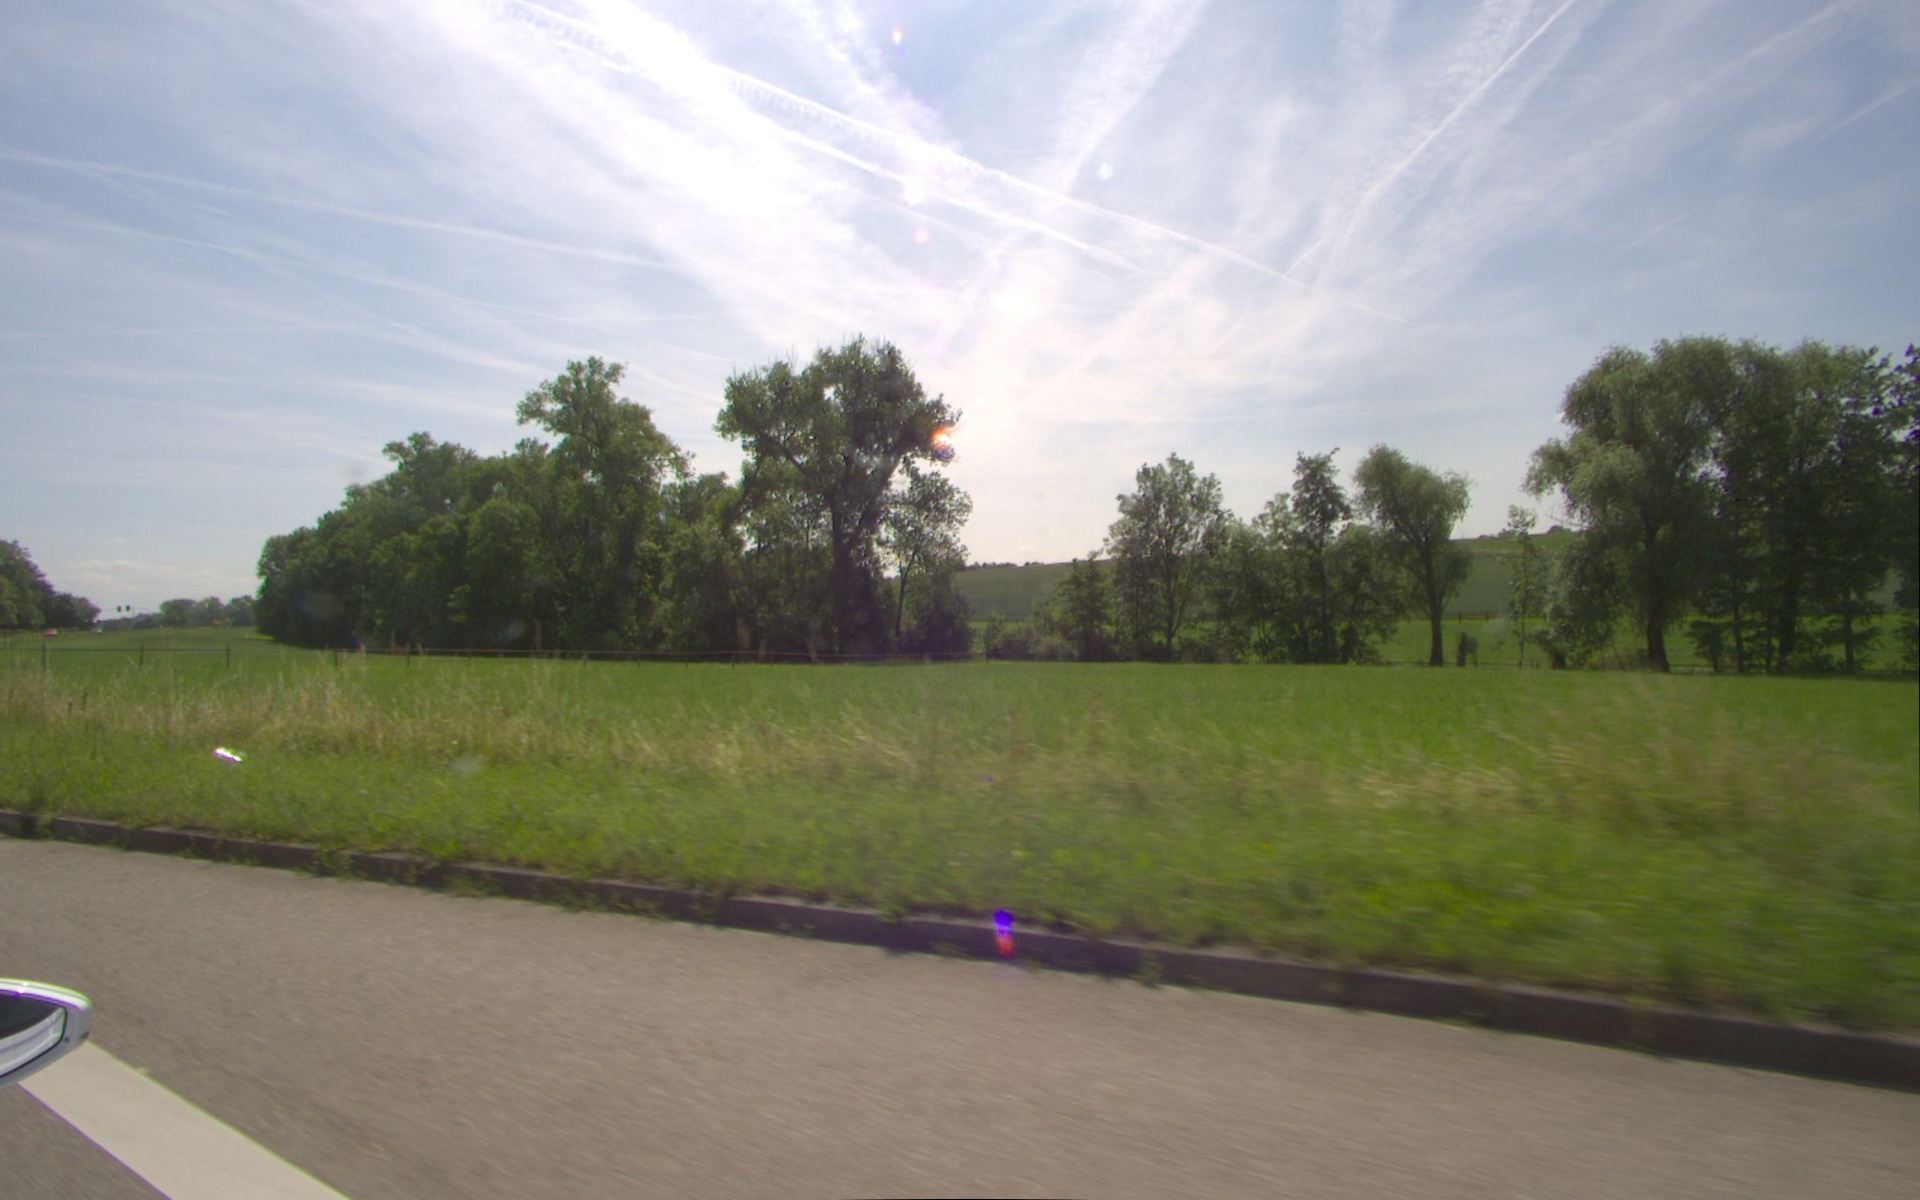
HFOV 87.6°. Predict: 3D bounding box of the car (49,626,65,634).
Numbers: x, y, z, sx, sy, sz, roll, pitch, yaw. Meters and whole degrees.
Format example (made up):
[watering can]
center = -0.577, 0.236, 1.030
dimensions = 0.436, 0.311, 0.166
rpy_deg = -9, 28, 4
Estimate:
[car]
center = -169.139, 5.553, 187.583
dimensions = 1.805, 1.487, 3.972
rpy_deg = 2, -3, -36
